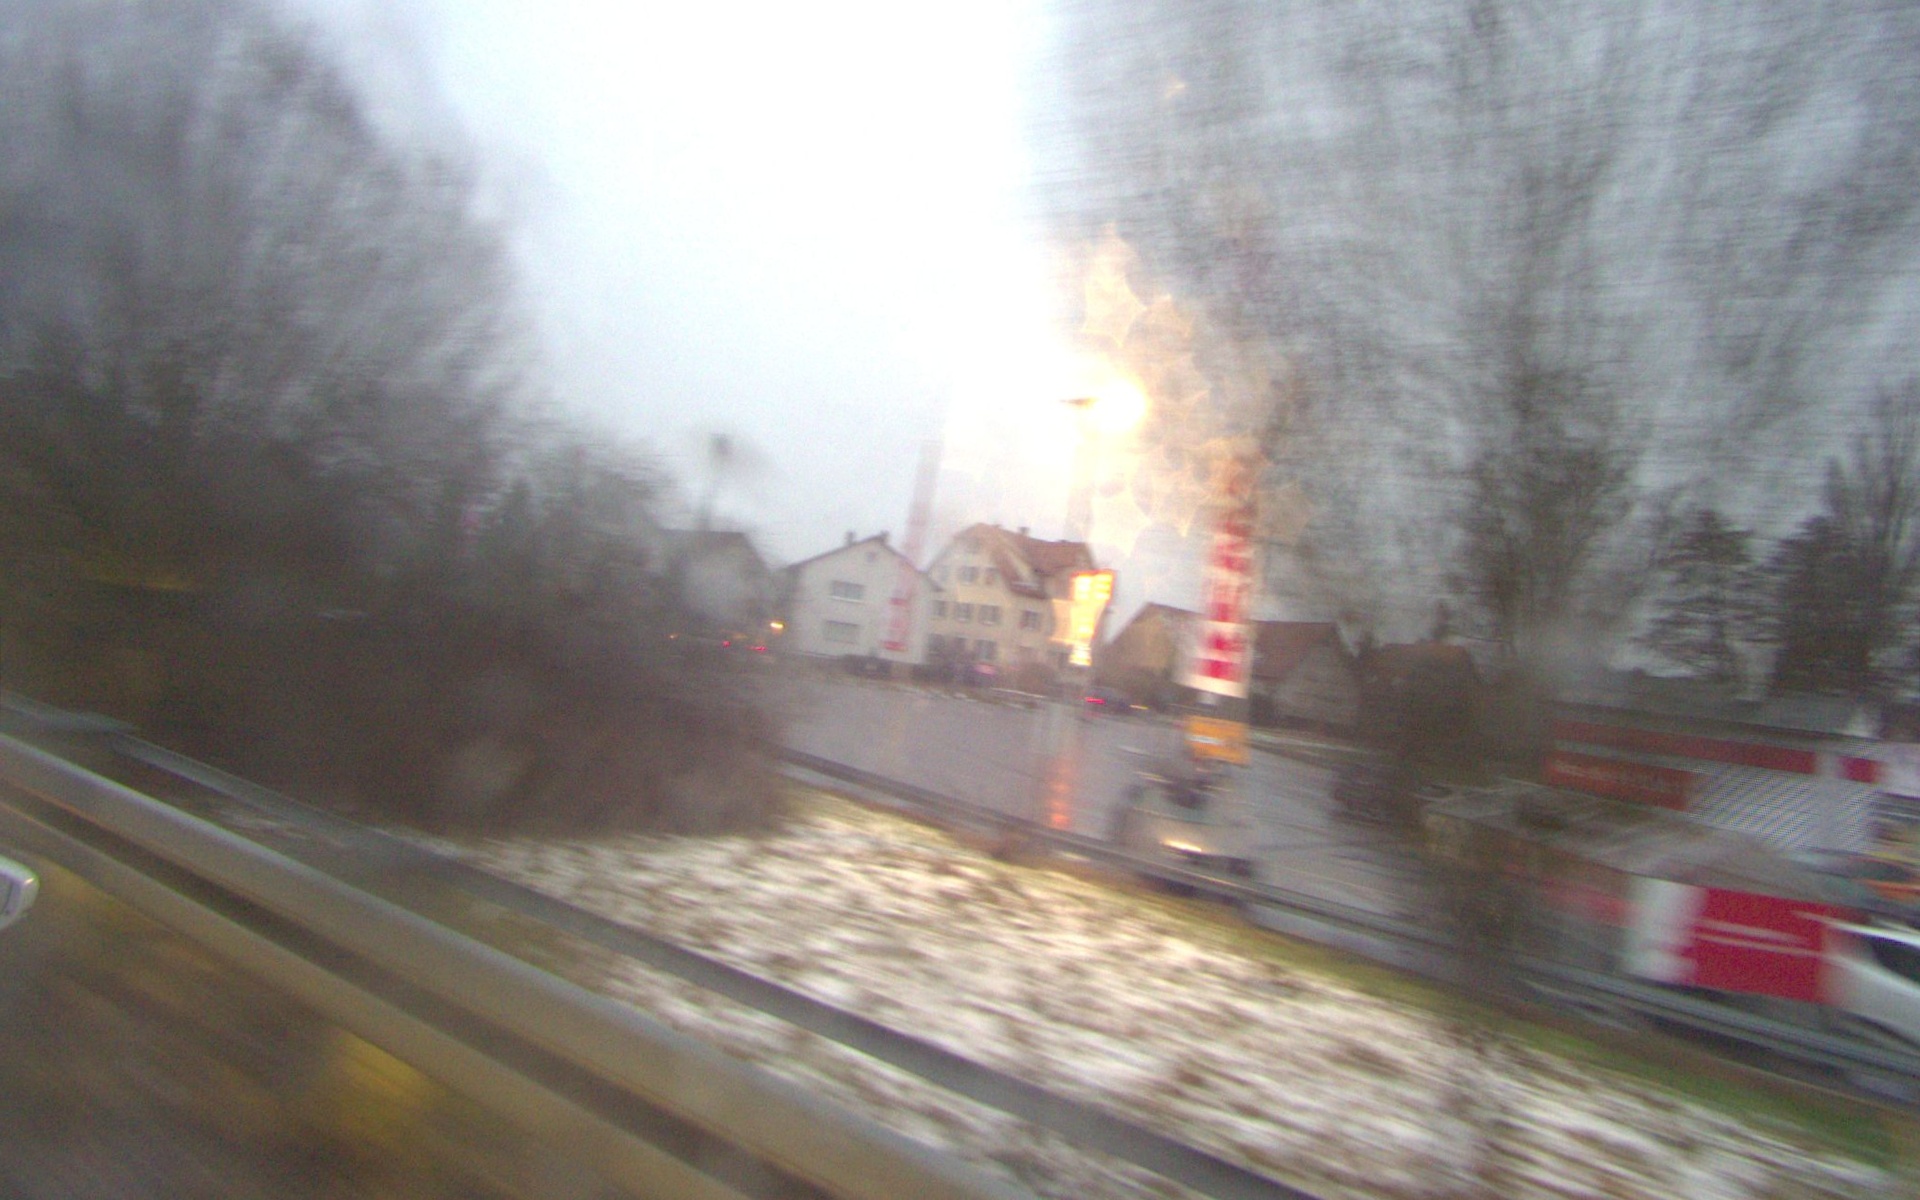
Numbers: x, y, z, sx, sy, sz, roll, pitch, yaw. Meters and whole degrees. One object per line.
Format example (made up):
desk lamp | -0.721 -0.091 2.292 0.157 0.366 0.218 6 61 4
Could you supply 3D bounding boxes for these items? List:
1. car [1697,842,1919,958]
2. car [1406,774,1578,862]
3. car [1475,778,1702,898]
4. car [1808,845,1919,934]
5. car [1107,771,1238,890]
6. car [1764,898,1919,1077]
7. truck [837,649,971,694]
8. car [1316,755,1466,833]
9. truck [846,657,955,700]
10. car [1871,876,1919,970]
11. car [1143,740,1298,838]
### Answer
car | 17.363 6.027 20.218 3.690 1.446 1.571 8 -1 7
car | 14.804 6.069 28.148 3.767 1.626 1.624 8 -1 3
car | 14.259 5.386 22.968 3.962 1.890 1.724 8 -1 -2
car | 22.021 6.781 23.188 3.774 1.517 1.568 8 -2 -8
car | 3.712 4.040 18.068 1.366 1.328 3.210 8 -2 -3
car | 11.648 4.712 11.337 1.764 1.455 4.002 8 -2 -1
truck | -3.743 4.810 67.615 8.535 1.836 2.408 8 -2 -16
car | 13.141 5.920 30.814 3.769 1.631 1.570 8 -1 -2
truck | -3.328 4.406 56.484 5.706 1.564 1.936 8 -2 -19
car | 18.922 6.101 17.966 3.691 1.446 1.570 8 -1 3
car | 6.533 4.757 25.704 1.700 1.620 4.019 8 -2 -20
